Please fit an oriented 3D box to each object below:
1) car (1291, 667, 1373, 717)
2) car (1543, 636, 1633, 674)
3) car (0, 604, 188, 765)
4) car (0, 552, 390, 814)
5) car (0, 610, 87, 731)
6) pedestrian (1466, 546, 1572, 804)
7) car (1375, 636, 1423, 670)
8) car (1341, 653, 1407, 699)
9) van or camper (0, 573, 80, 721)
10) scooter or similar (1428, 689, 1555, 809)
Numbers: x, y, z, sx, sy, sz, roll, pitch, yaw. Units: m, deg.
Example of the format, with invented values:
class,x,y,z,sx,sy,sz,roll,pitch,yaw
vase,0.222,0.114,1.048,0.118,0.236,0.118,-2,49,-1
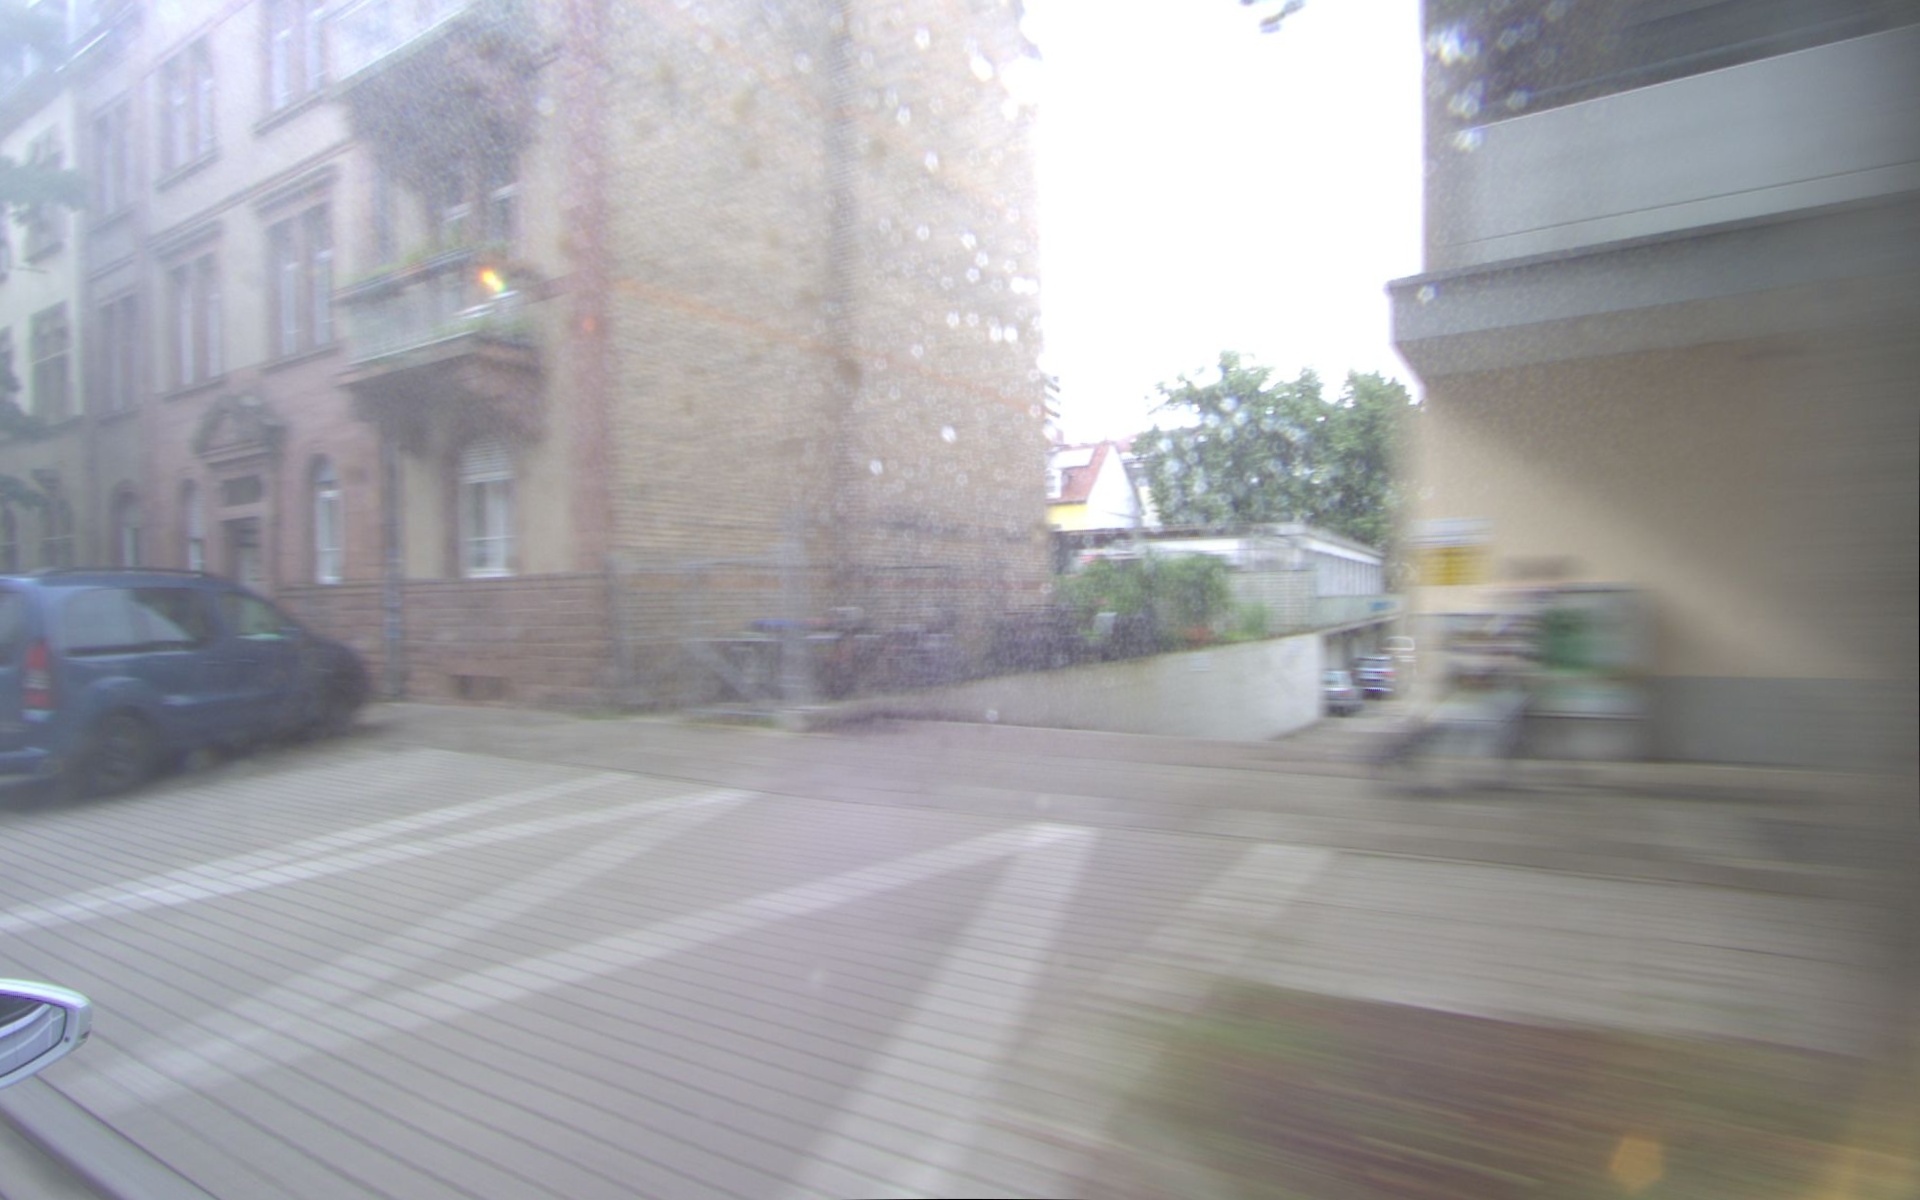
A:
class,x,y,z,sx,sy,sz,roll,pitch,yaw
car,12.497,3.015,33.488,1.928,1.410,3.820,0,-2,31
car,30.807,2.693,49.166,3.508,1.666,1.636,-4,0,40
car,-10.397,0.845,10.212,1.848,1.580,4.023,-1,0,2
car,-7.631,0.579,9.375,1.961,1.895,4.183,-2,2,3
car,-12.946,0.892,11.808,1.767,1.519,3.873,-1,0,4
pedestrian,3.609,0.460,6.457,0.572,1.560,0.575,0,0,32
car,23.599,2.804,53.731,1.928,1.715,3.982,0,-2,31
car,16.266,2.917,39.201,1.928,1.605,3.984,0,-2,29
van or camper,-15.162,0.646,13.640,2.015,2.165,4.793,0,-2,2
scooter or similar,3.371,0.920,6.343,0.684,0.632,0.541,0,2,32
